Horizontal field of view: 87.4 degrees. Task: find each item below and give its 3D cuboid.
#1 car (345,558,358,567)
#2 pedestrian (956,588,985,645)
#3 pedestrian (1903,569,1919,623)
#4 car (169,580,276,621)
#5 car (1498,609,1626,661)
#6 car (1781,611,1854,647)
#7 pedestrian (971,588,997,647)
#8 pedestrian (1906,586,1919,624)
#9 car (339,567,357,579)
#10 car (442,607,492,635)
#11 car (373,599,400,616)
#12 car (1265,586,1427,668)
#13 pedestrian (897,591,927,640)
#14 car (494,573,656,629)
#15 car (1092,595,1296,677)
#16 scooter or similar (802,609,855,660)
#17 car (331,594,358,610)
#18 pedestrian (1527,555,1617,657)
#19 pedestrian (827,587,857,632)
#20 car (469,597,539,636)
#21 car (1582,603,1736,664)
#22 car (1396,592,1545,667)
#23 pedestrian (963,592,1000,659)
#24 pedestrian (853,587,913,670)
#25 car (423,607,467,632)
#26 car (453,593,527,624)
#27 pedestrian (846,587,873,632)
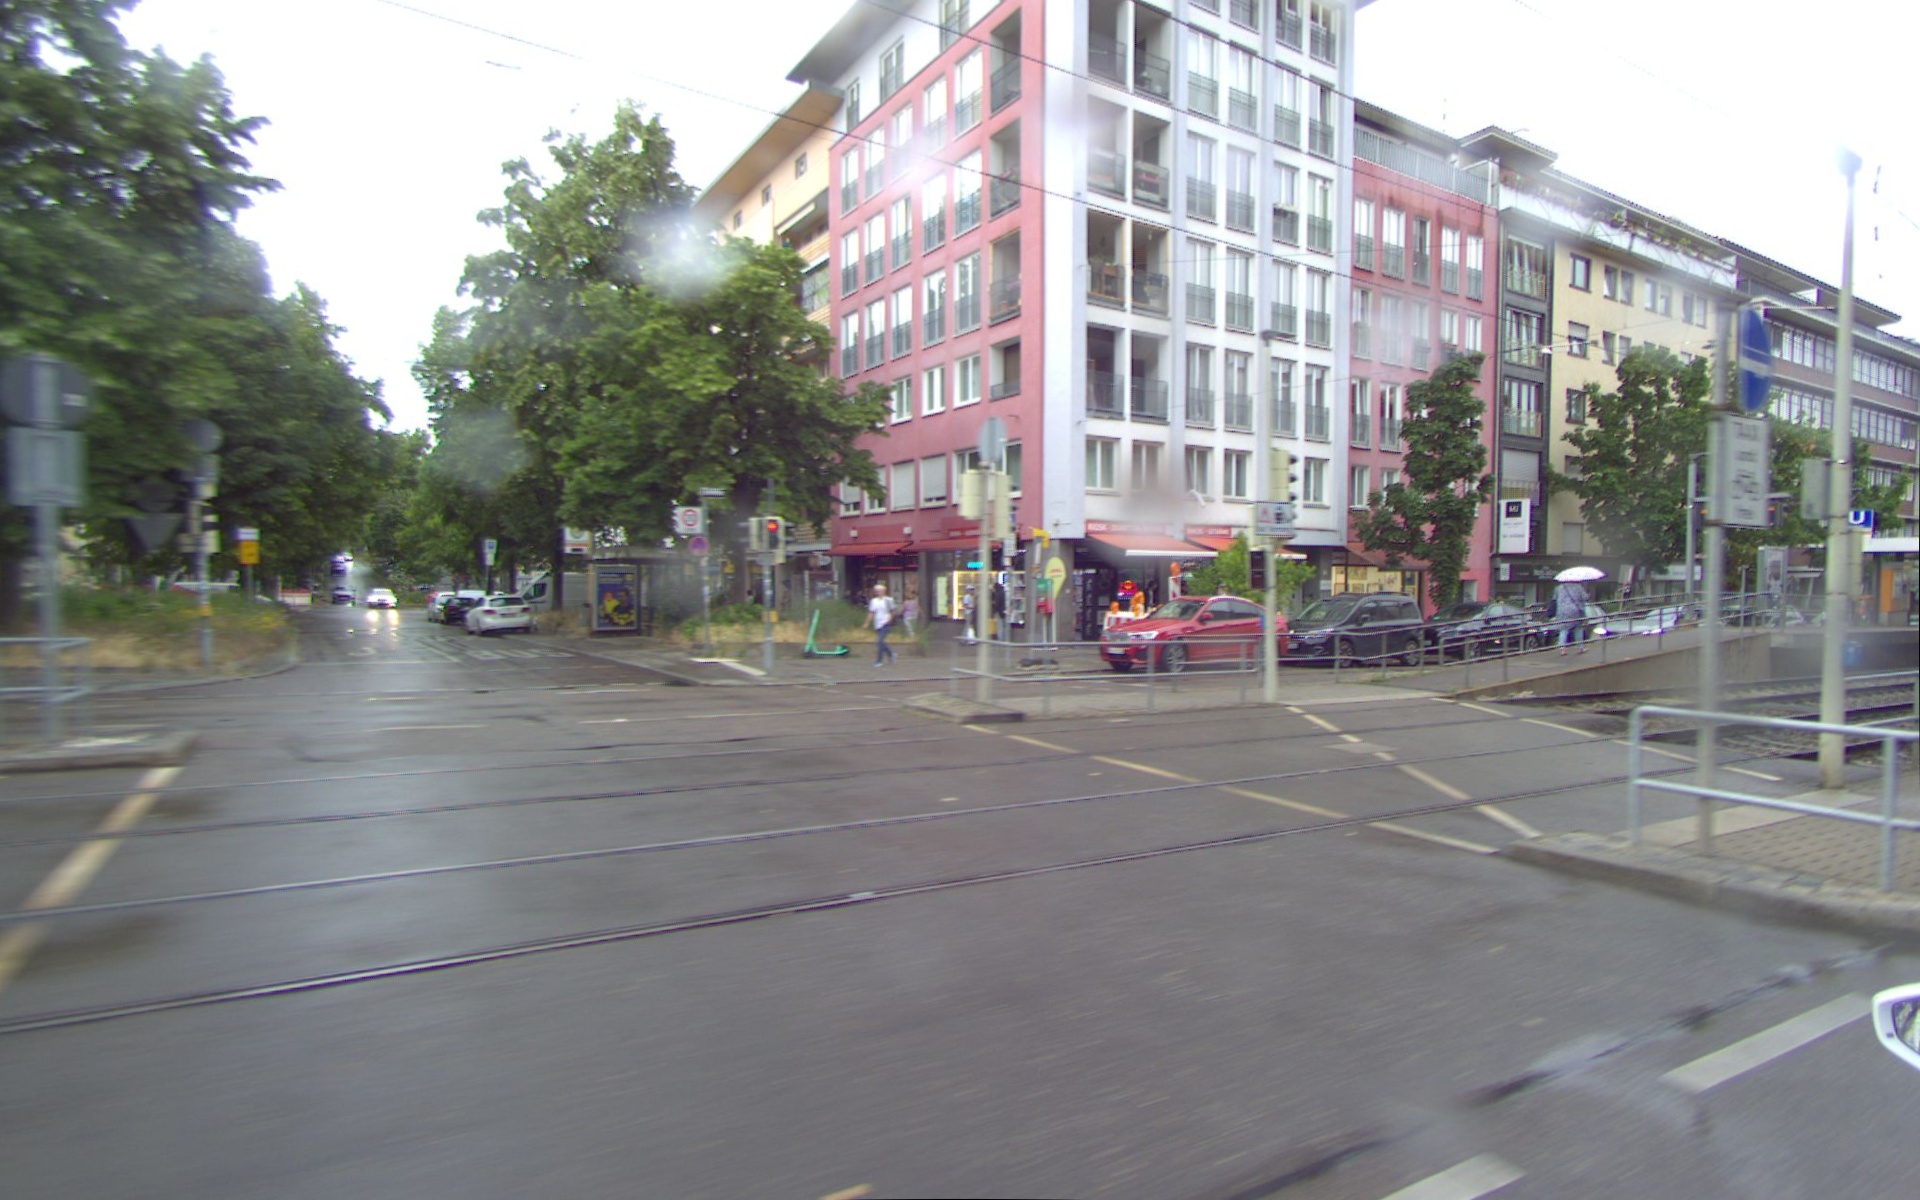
[{"bbox_3d":[-113.326,-6.912,186.990,1.977,1.392,3.966,1,4,-30],"label":"car"},{"bbox_3d":[0.300,0.472,29.555,0.570,1.653,0.610,3,2,31],"label":"pedestrian"},{"bbox_3d":[30.754,-0.119,32.166,0.841,1.734,0.651,0,0,-35],"label":"pedestrian"},{"bbox_3d":[-41.624,0.039,56.849,4.814,2.239,1.890,1,0,-35],"label":"car"},{"bbox_3d":[18.351,1.019,30.549,4.278,1.455,1.828,1,0,-36],"label":"car"},{"bbox_3d":[36.164,1.207,42.337,3.700,1.455,1.557,1,0,-36],"label":"car"},{"bbox_3d":[0.701,0.497,29.100,0.535,1.653,0.574,2,1,21],"label":"pedestrian"},{"bbox_3d":[32.432,0.159,33.792,0.875,1.266,0.688,0,0,-35],"label":"pedestrian"},{"bbox_3d":[-84.762,-3.762,139.197,1.977,1.392,3.967,1,2,-30],"label":"car"},{"bbox_3d":[-26.430,1.119,53.746,2.074,1.392,4.411,1,-1,-30],"label":"car"},{"bbox_3d":[-48.985,0.622,85.746,1.977,1.392,3.967,1,-1,-30],"label":"car"},{"bbox_3d":[9.630,0.639,24.938,4.278,1.883,1.696,1,0,-36],"label":"car"},{"bbox_3d":[-1.502,0.491,31.310,0.650,1.481,0.635,1,2,-34],"label":"pedestrian"},{"bbox_3d":[-18.621,0.093,48.718,7.018,2.568,2.403,1,0,-31],"label":"car"},{"bbox_3d":[5.191,0.724,22.094,4.501,1.633,1.717,0,0,-32],"label":"car"},{"bbox_3d":[-3.169,0.835,24.174,1.198,1.207,0.387,1,0,-32],"label":"scooter or similar"},{"bbox_3d":[-57.506,0.204,93.893,1.977,1.392,3.967,1,-1,-30],"label":"car"},{"bbox_3d":[12.762,0.132,20.944,1.368,2.040,1.110,1,0,-33],"label":"pedestrian"},{"bbox_3d":[-3.749,0.289,31.859,0.651,1.402,0.686,1,2,-34],"label":"pedestrian"},{"bbox_3d":[-17.102,0.600,37.609,1.977,1.392,3.967,1,-1,-30],"label":"car"},{"bbox_3d":[19.828,0.898,28.425,4.965,1.599,1.797,1,0,-33],"label":"car"},{"bbox_3d":[13.842,0.753,27.168,4.337,1.883,1.790,1,0,-35],"label":"car"},{"bbox_3d":[0.549,0.634,25.735,0.792,1.654,0.881,-1,2,-8],"label":"pedestrian"},{"bbox_3d":[-1.665,0.597,21.721,0.978,1.720,0.812,1,2,-41],"label":"pedestrian"},{"bbox_3d":[-30.012,1.111,58.483,2.074,1.392,4.411,1,-1,-30],"label":"car"},{"bbox_3d":[-32.312,0.611,69.037,4.397,2.056,2.081,1,-1,-32],"label":"car"},{"bbox_3d":[-3.225,0.306,32.180,0.644,1.424,0.556,1,2,-34],"label":"pedestrian"}]
